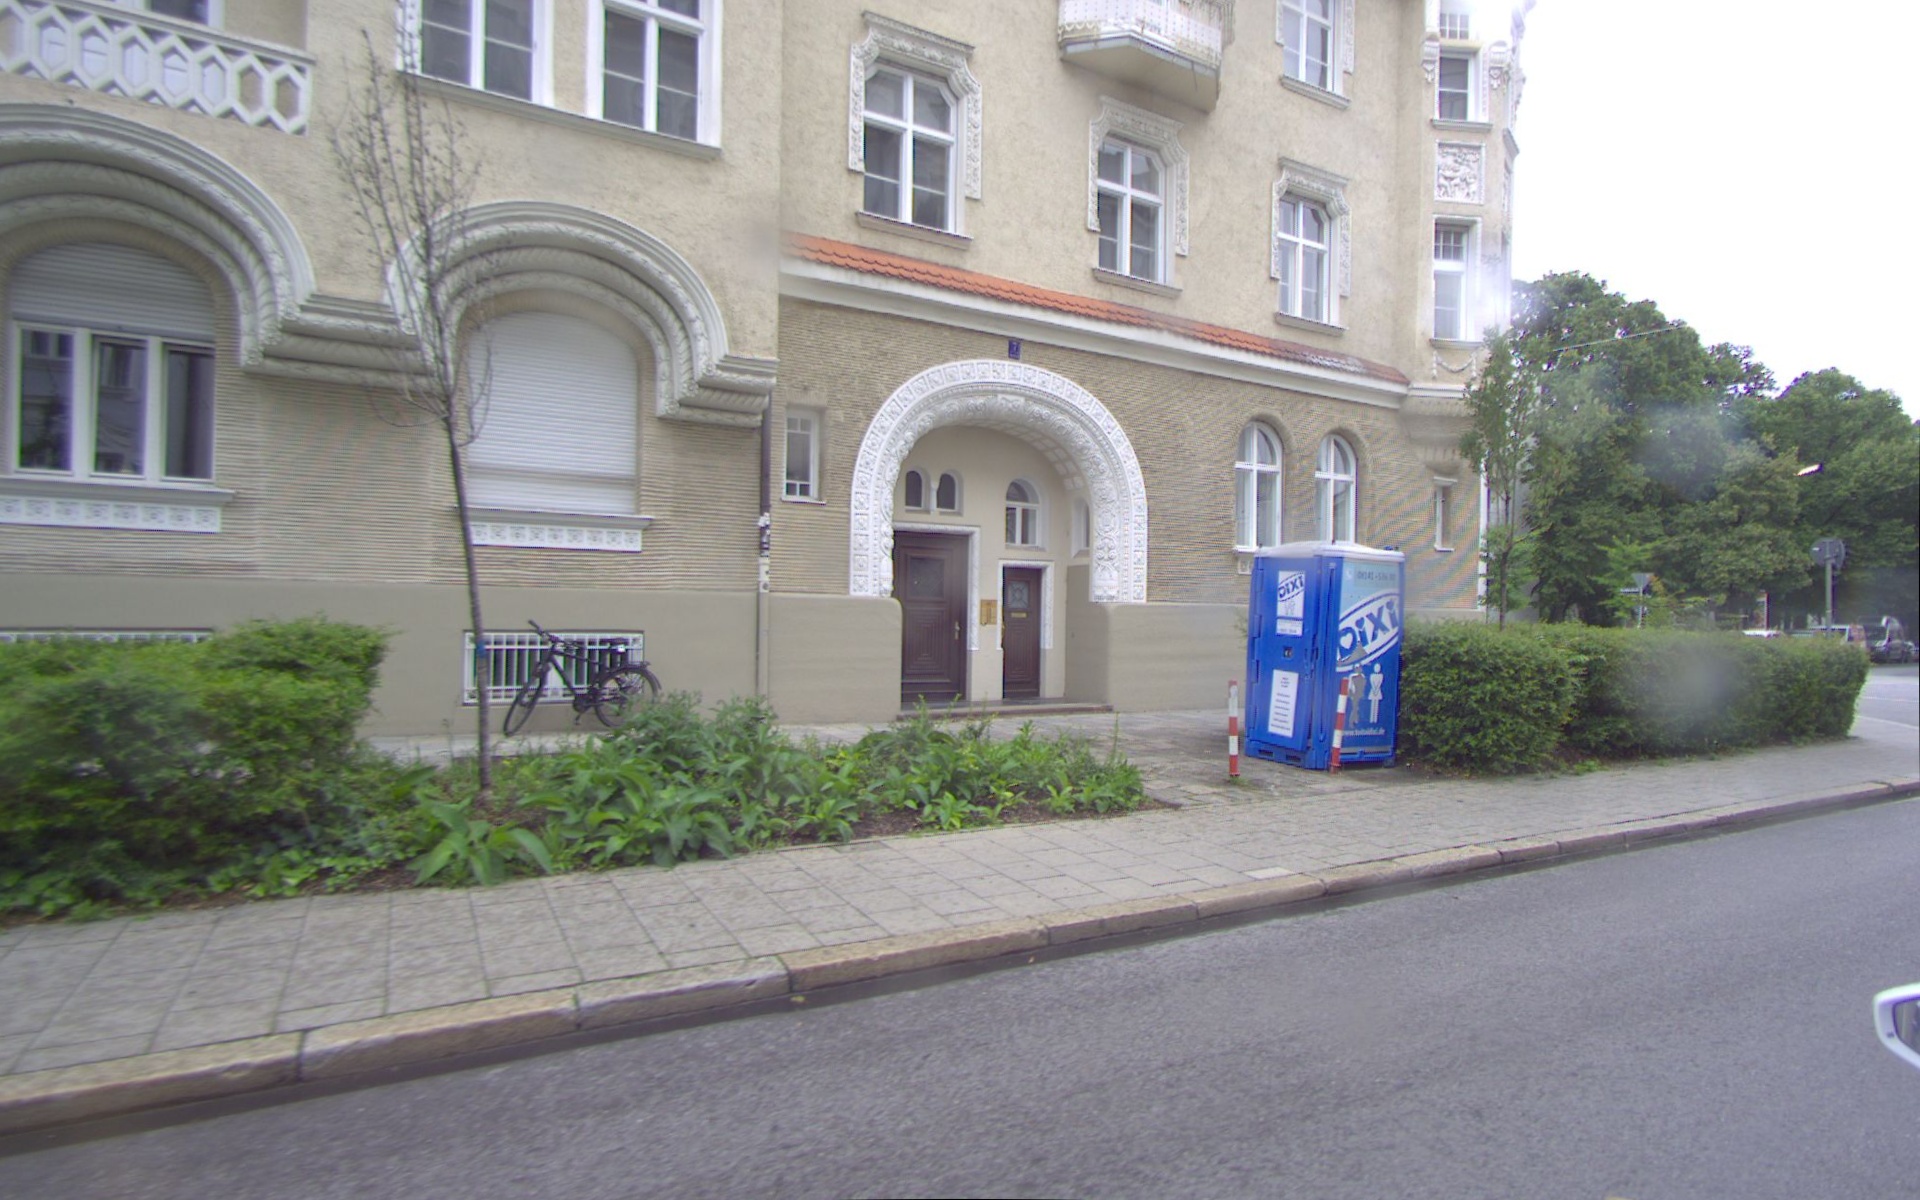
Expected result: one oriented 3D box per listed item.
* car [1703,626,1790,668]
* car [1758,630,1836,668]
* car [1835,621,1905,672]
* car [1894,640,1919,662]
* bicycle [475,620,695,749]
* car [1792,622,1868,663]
[{"bbox_3d":[38.691,2.295,49.386,4.810,1.929,2.070,2,-1,-35],"label":"car"},{"bbox_3d":[44.590,2.581,53.474,5.616,1.933,2.011,2,-3,-38],"label":"car"},{"bbox_3d":[57.178,2.904,63.089,6.176,3.042,2.157,2,-1,-37],"label":"car"},{"bbox_3d":[66.492,3.548,69.667,4.095,1.439,1.977,2,-1,-39],"label":"car"},{"bbox_3d":[-3.931,0.848,10.574,2.052,1.222,0.817,1,0,-30],"label":"bicycle"},{"bbox_3d":[50.092,2.458,57.807,5.549,2.294,2.070,2,-3,-36],"label":"car"}]
